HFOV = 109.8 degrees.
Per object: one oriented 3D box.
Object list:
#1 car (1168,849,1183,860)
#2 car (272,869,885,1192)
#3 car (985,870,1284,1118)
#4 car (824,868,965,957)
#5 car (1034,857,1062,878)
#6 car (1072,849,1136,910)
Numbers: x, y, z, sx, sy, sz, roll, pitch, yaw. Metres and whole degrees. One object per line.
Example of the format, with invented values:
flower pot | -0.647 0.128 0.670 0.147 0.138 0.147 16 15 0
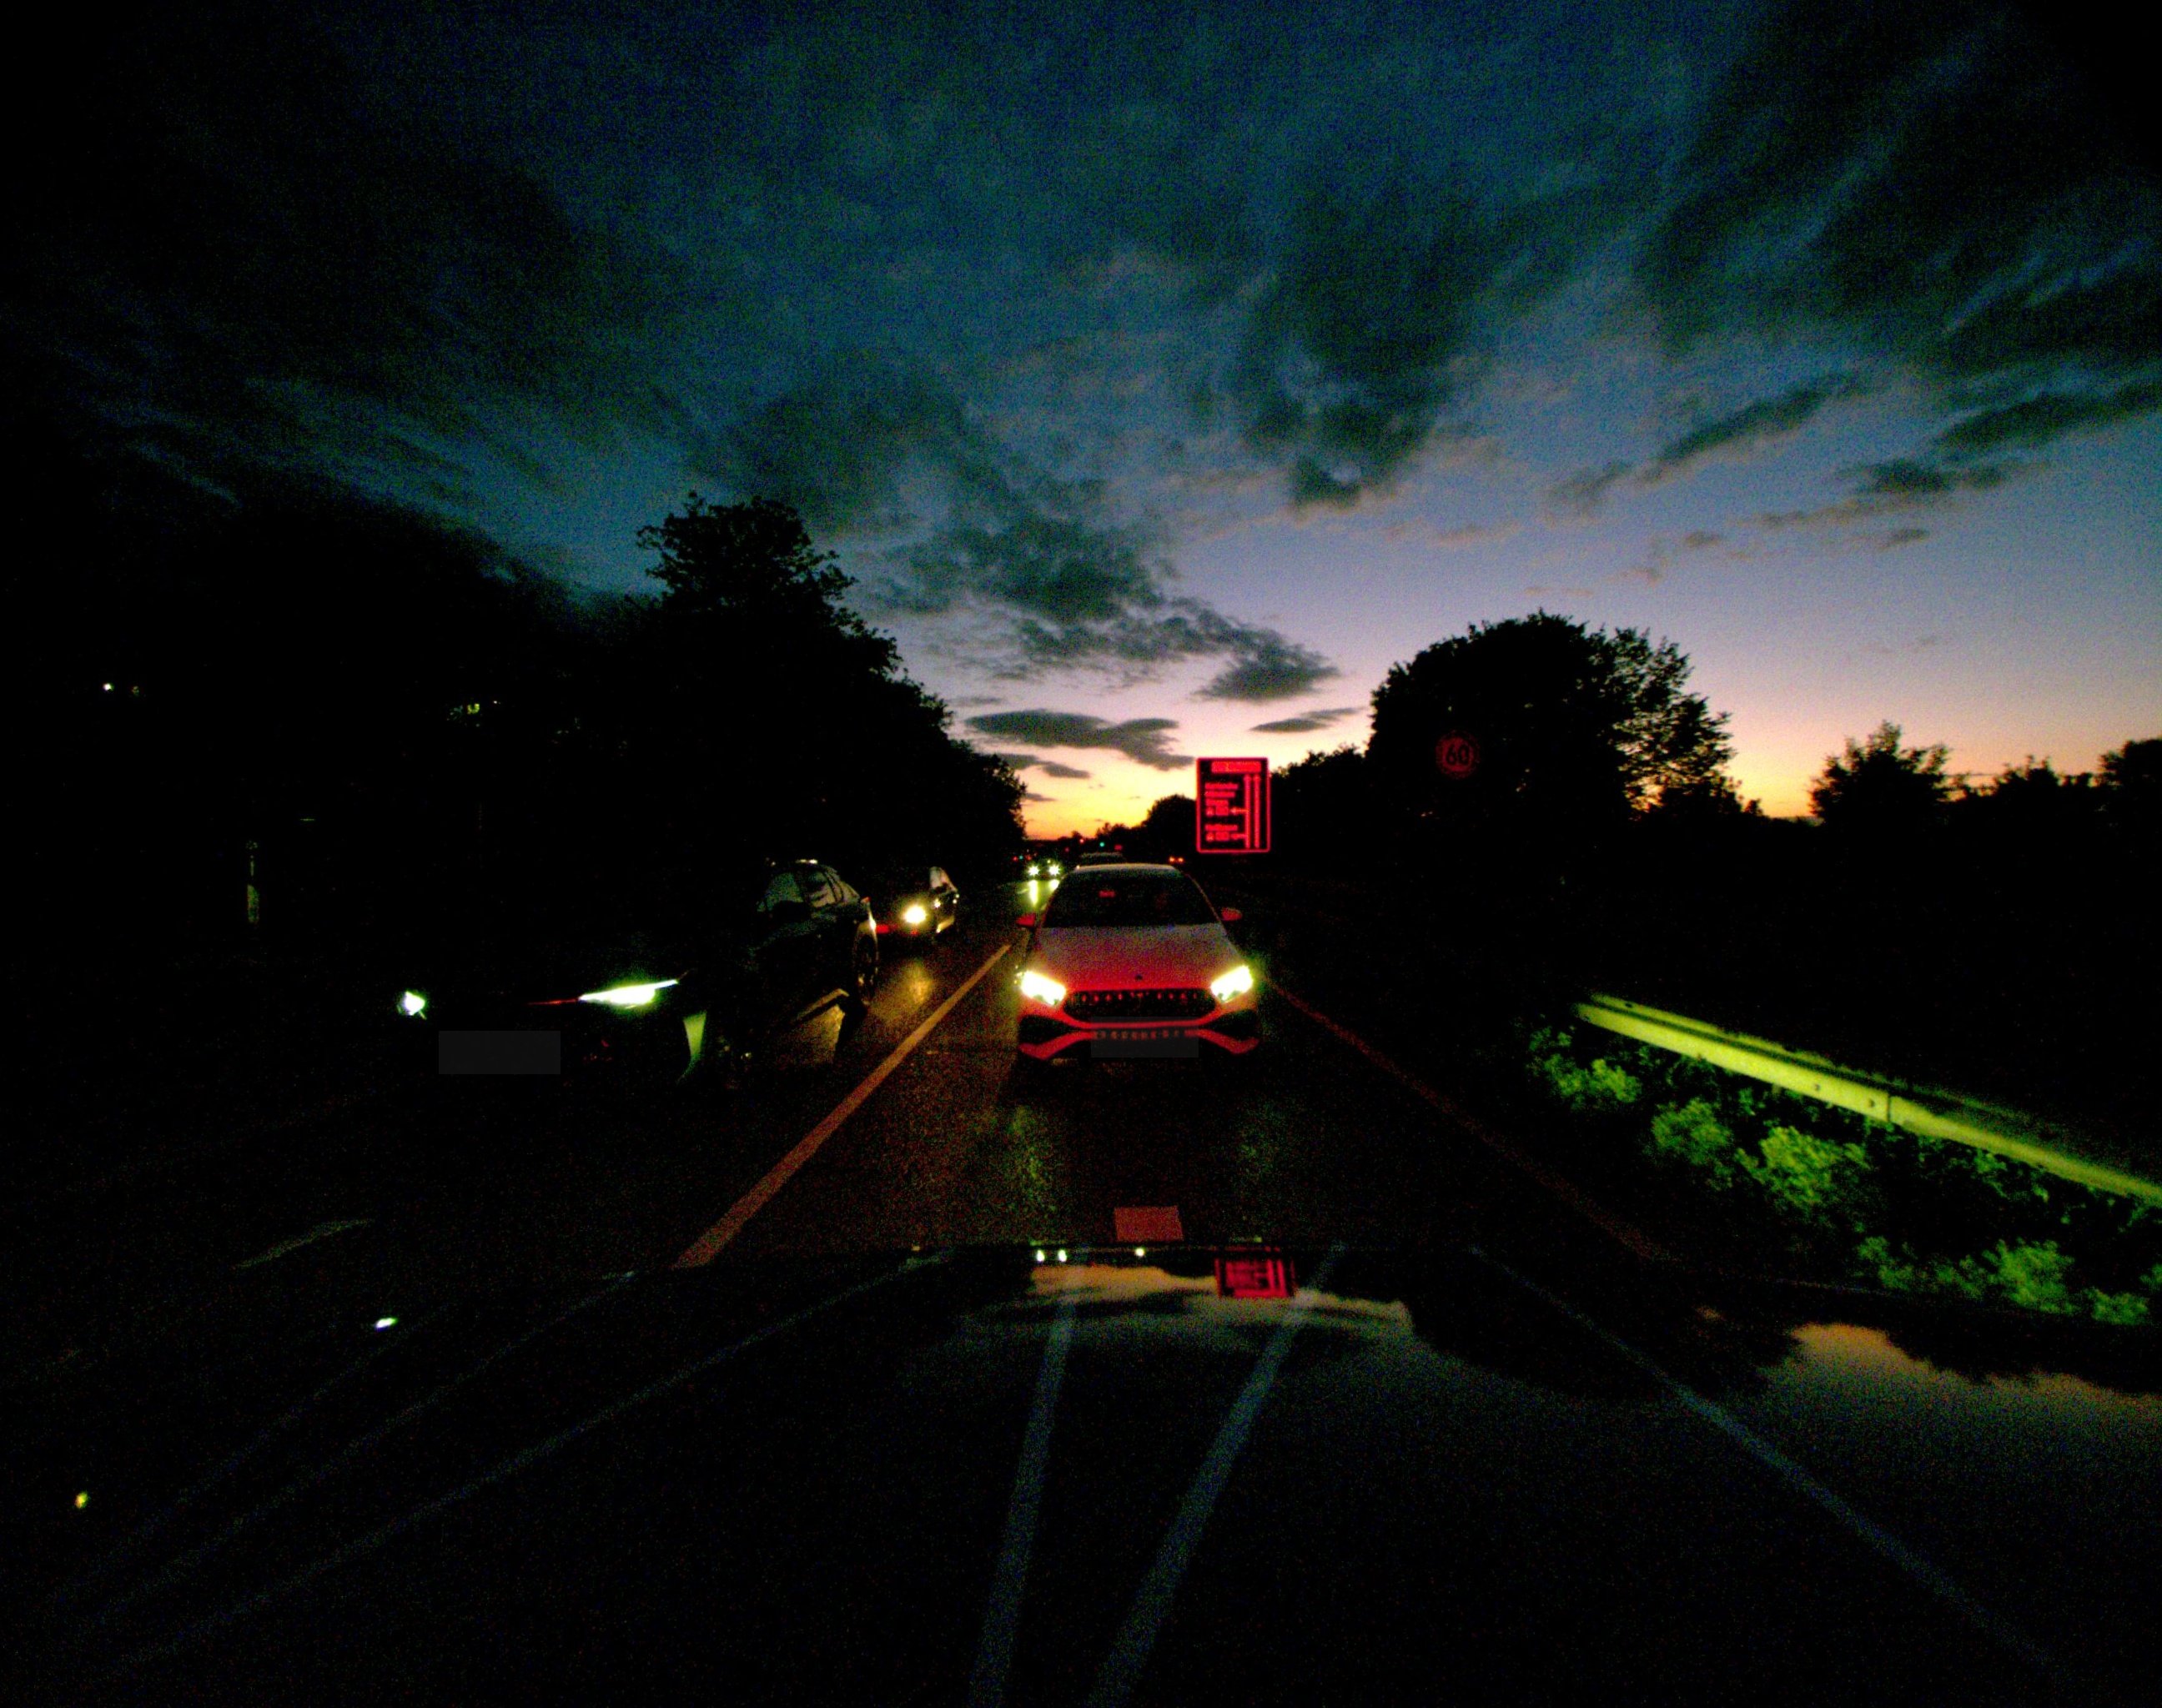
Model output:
car | 14.541 0.055 117.083 1.781 1.551 4.000 -2 1 1
car | -3.186 0.967 6.109 1.901 1.547 4.301 -3 0 2
car | 0.403 0.932 7.091 1.819 1.428 4.647 -2 0 2
car | -3.357 1.004 14.394 1.621 1.405 3.756 -1 0 2
car | -2.372 0.930 55.612 1.819 1.360 3.999 -2 1 1
car | 0.723 0.752 23.858 1.760 1.692 4.250 -2 0 2
